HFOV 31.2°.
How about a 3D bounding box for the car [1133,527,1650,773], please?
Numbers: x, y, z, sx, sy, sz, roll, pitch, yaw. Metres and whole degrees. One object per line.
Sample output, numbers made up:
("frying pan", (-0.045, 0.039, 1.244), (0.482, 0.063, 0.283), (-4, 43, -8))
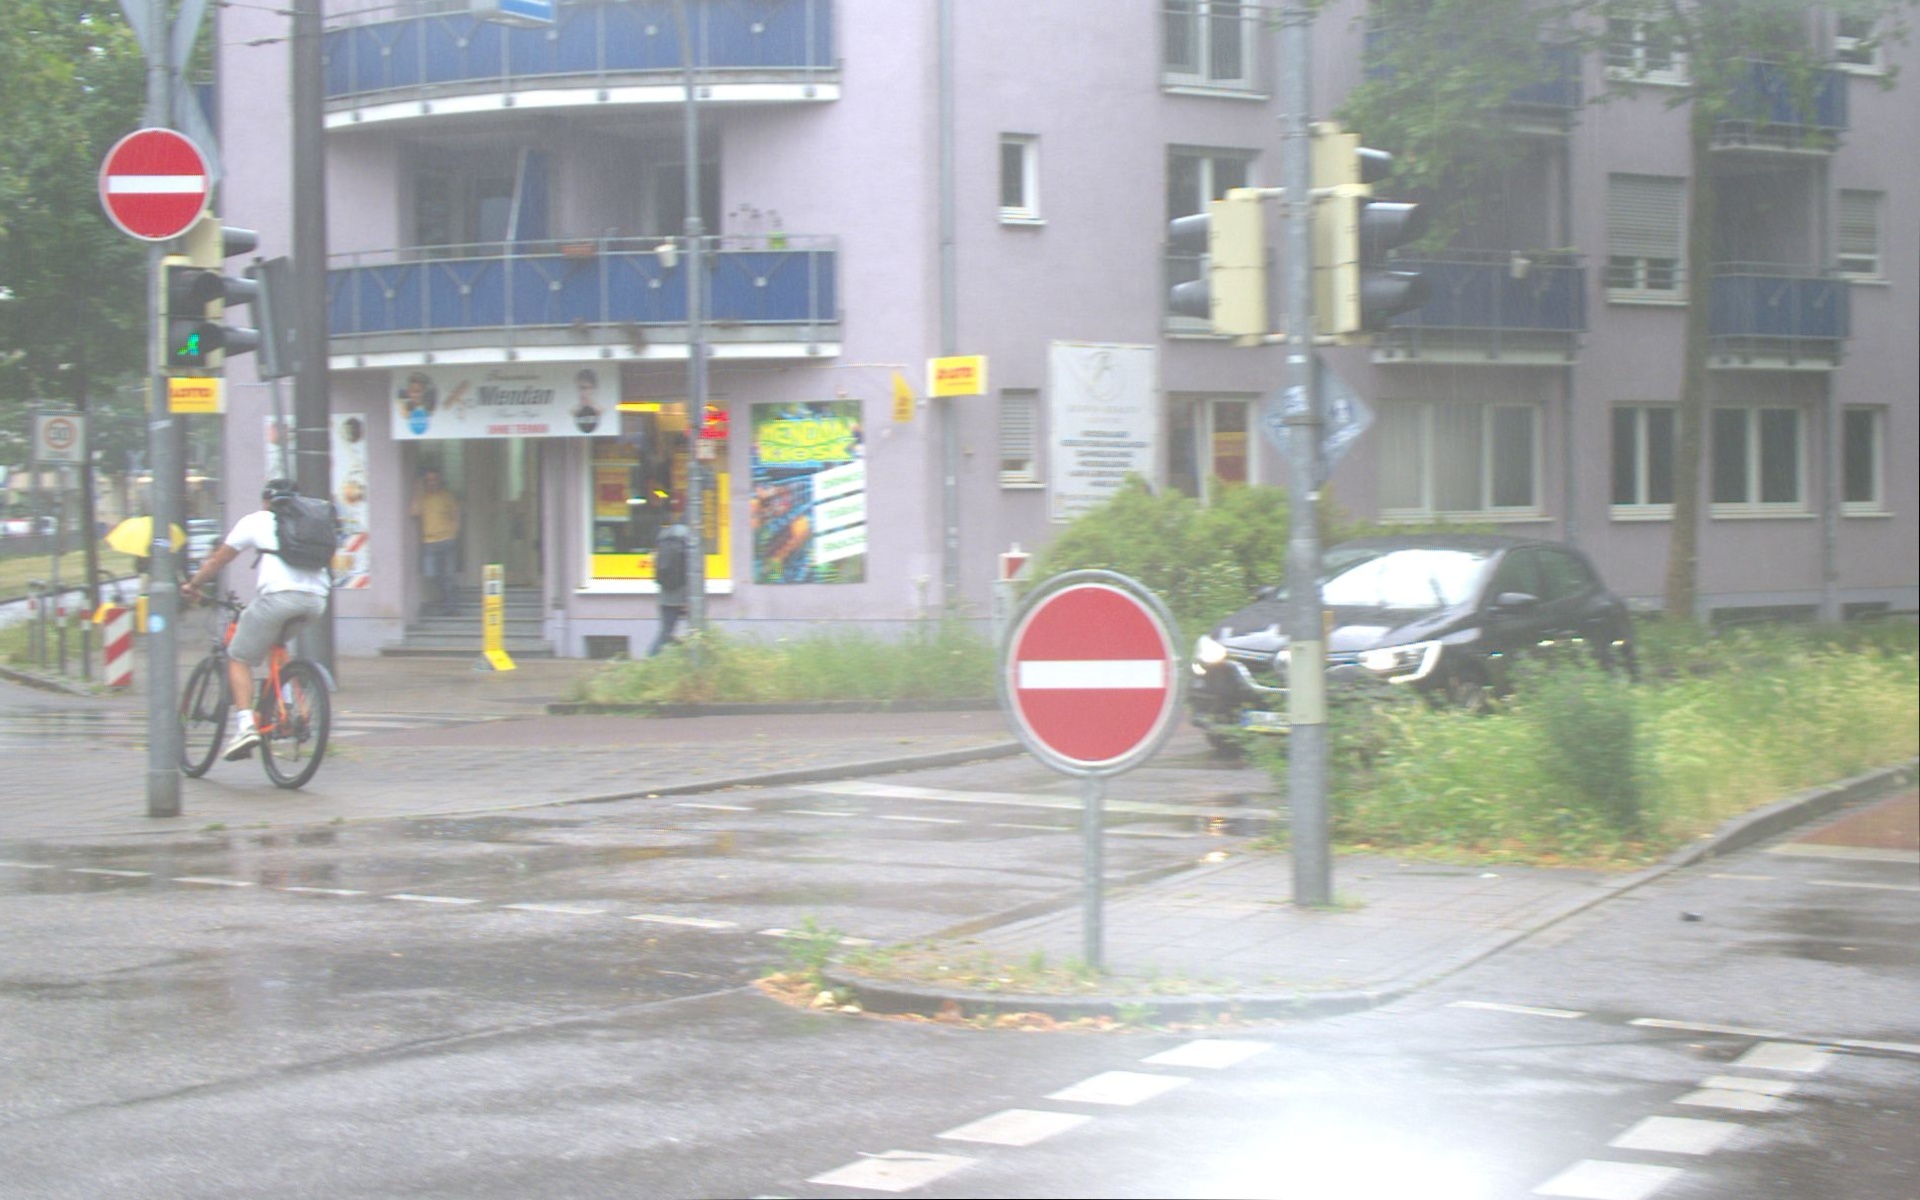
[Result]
("car", (3.005, 0.253, 23.175), (1.991, 1.456, 4.171), (1, 2, 30))

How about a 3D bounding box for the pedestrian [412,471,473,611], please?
("pedestrian", (-5.959, -0.685, 39.615), (0.472, 1.596, 0.593), (0, 1, 18))

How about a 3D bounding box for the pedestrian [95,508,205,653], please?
("pedestrian", (-10.114, -0.254, 42.930), (1.163, 1.782, 0.894), (-1, 2, -26))

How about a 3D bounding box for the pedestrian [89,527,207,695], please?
("pedestrian", (-7.686, 0.096, 32.585), (0.991, 1.554, 0.784), (-1, 2, -7))

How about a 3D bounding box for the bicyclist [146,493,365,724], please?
("bicyclist", (-4.133, 0.028, 20.170), (1.076, 1.305, 0.741), (1, 3, 41))

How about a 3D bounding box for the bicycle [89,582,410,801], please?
("bicycle", (-4.205, 0.510, 20.253), (2.039, 1.169, 0.751), (1, 3, 41))

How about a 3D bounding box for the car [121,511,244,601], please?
("car", (-15.012, -0.880, 66.544), (1.993, 1.667, 4.001), (-1, 2, -8))

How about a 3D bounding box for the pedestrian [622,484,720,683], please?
("pedestrian", (-2.652, -0.158, 31.600), (0.641, 1.797, 0.621), (1, 2, 27))
